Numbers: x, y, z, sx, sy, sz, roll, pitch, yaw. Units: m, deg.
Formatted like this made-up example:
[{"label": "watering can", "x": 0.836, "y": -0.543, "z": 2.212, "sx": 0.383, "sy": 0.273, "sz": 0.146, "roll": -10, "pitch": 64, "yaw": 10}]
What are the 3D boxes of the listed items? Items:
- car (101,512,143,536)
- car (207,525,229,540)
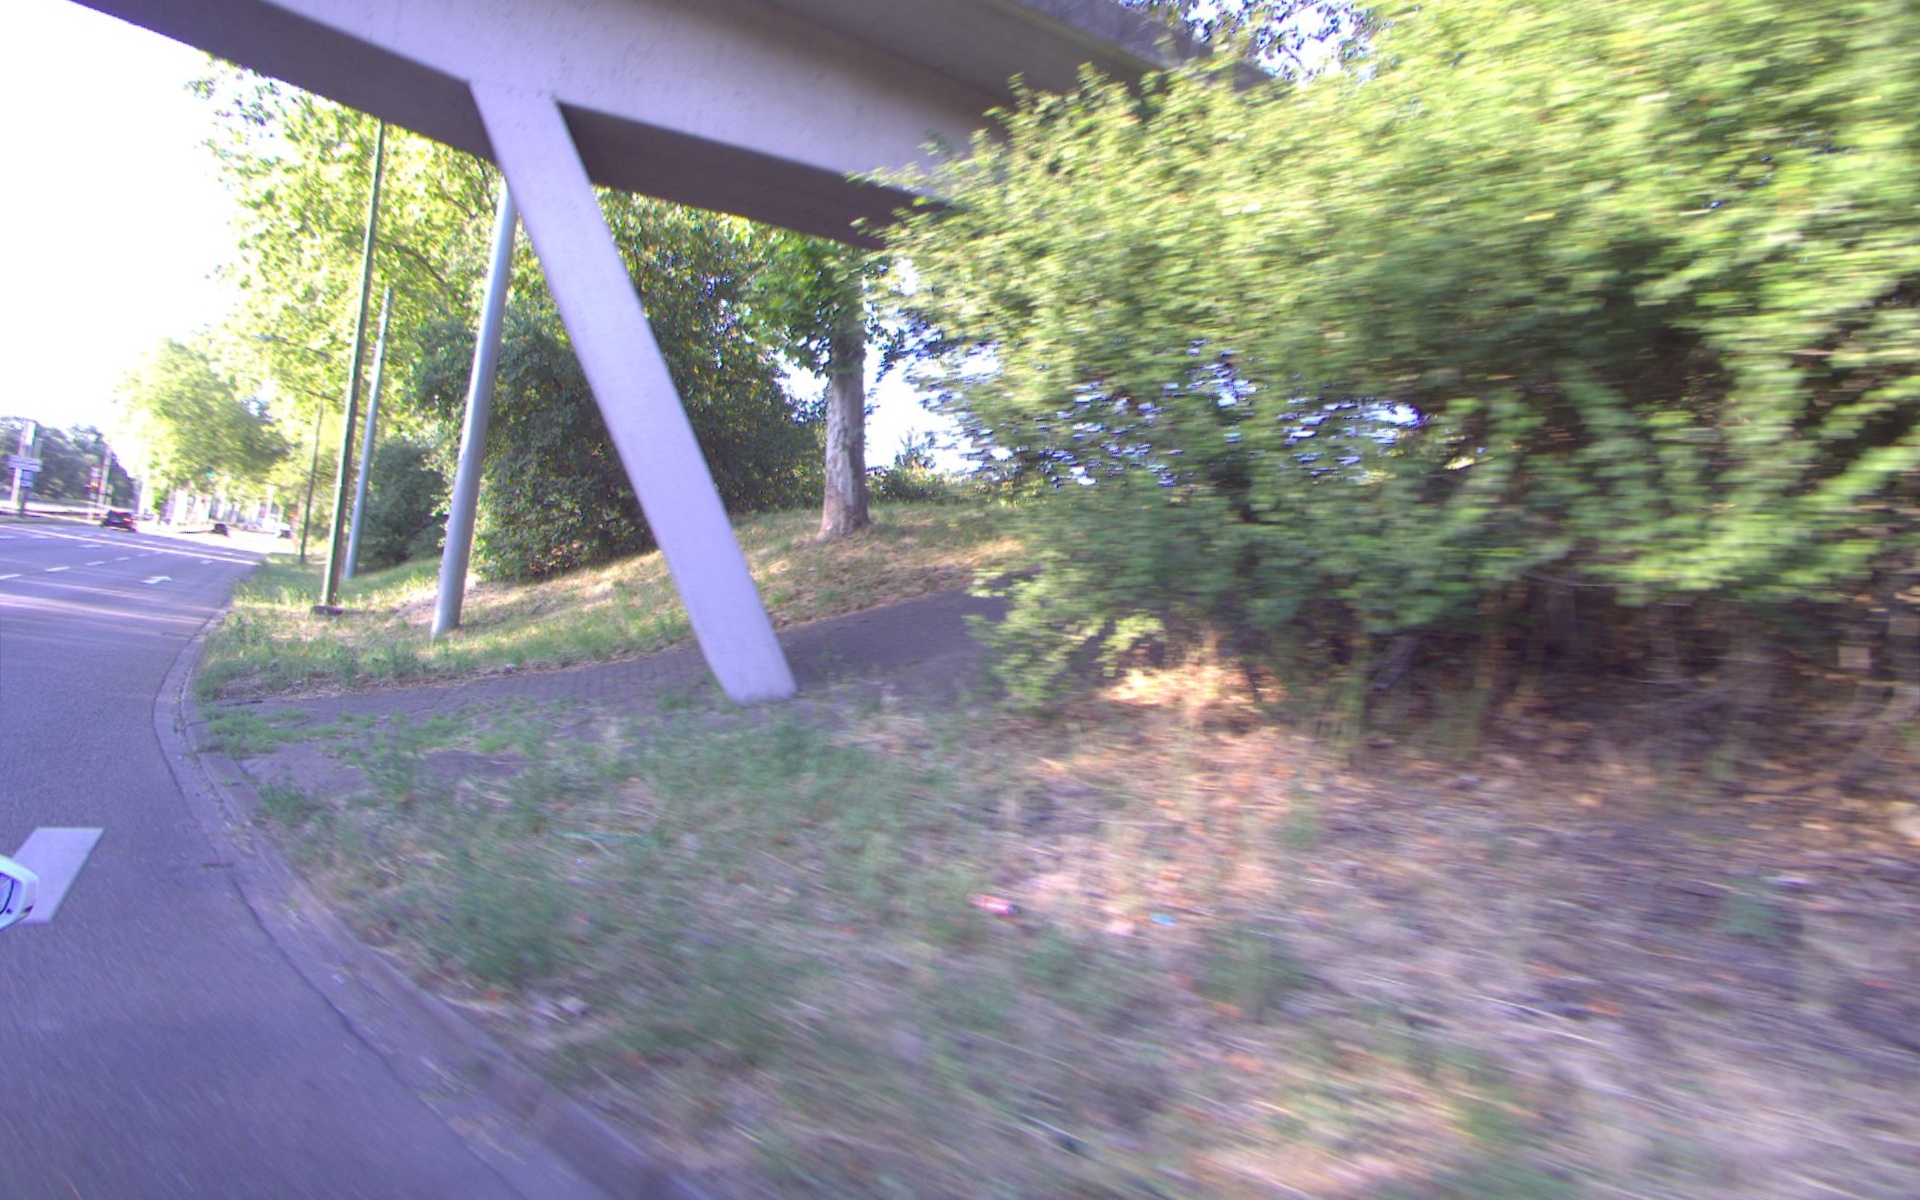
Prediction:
[{"label": "car", "x": -61.109, "y": -5.505, "z": 73.439, "sx": 1.782, "sy": 1.419, "sz": 3.657, "roll": 8, "pitch": -2, "yaw": -33}, {"label": "car", "x": -87.151, "y": -7.931, "z": 118.174, "sx": 1.782, "sy": 1.418, "sz": 3.657, "roll": 10, "pitch": -3, "yaw": -33}]
